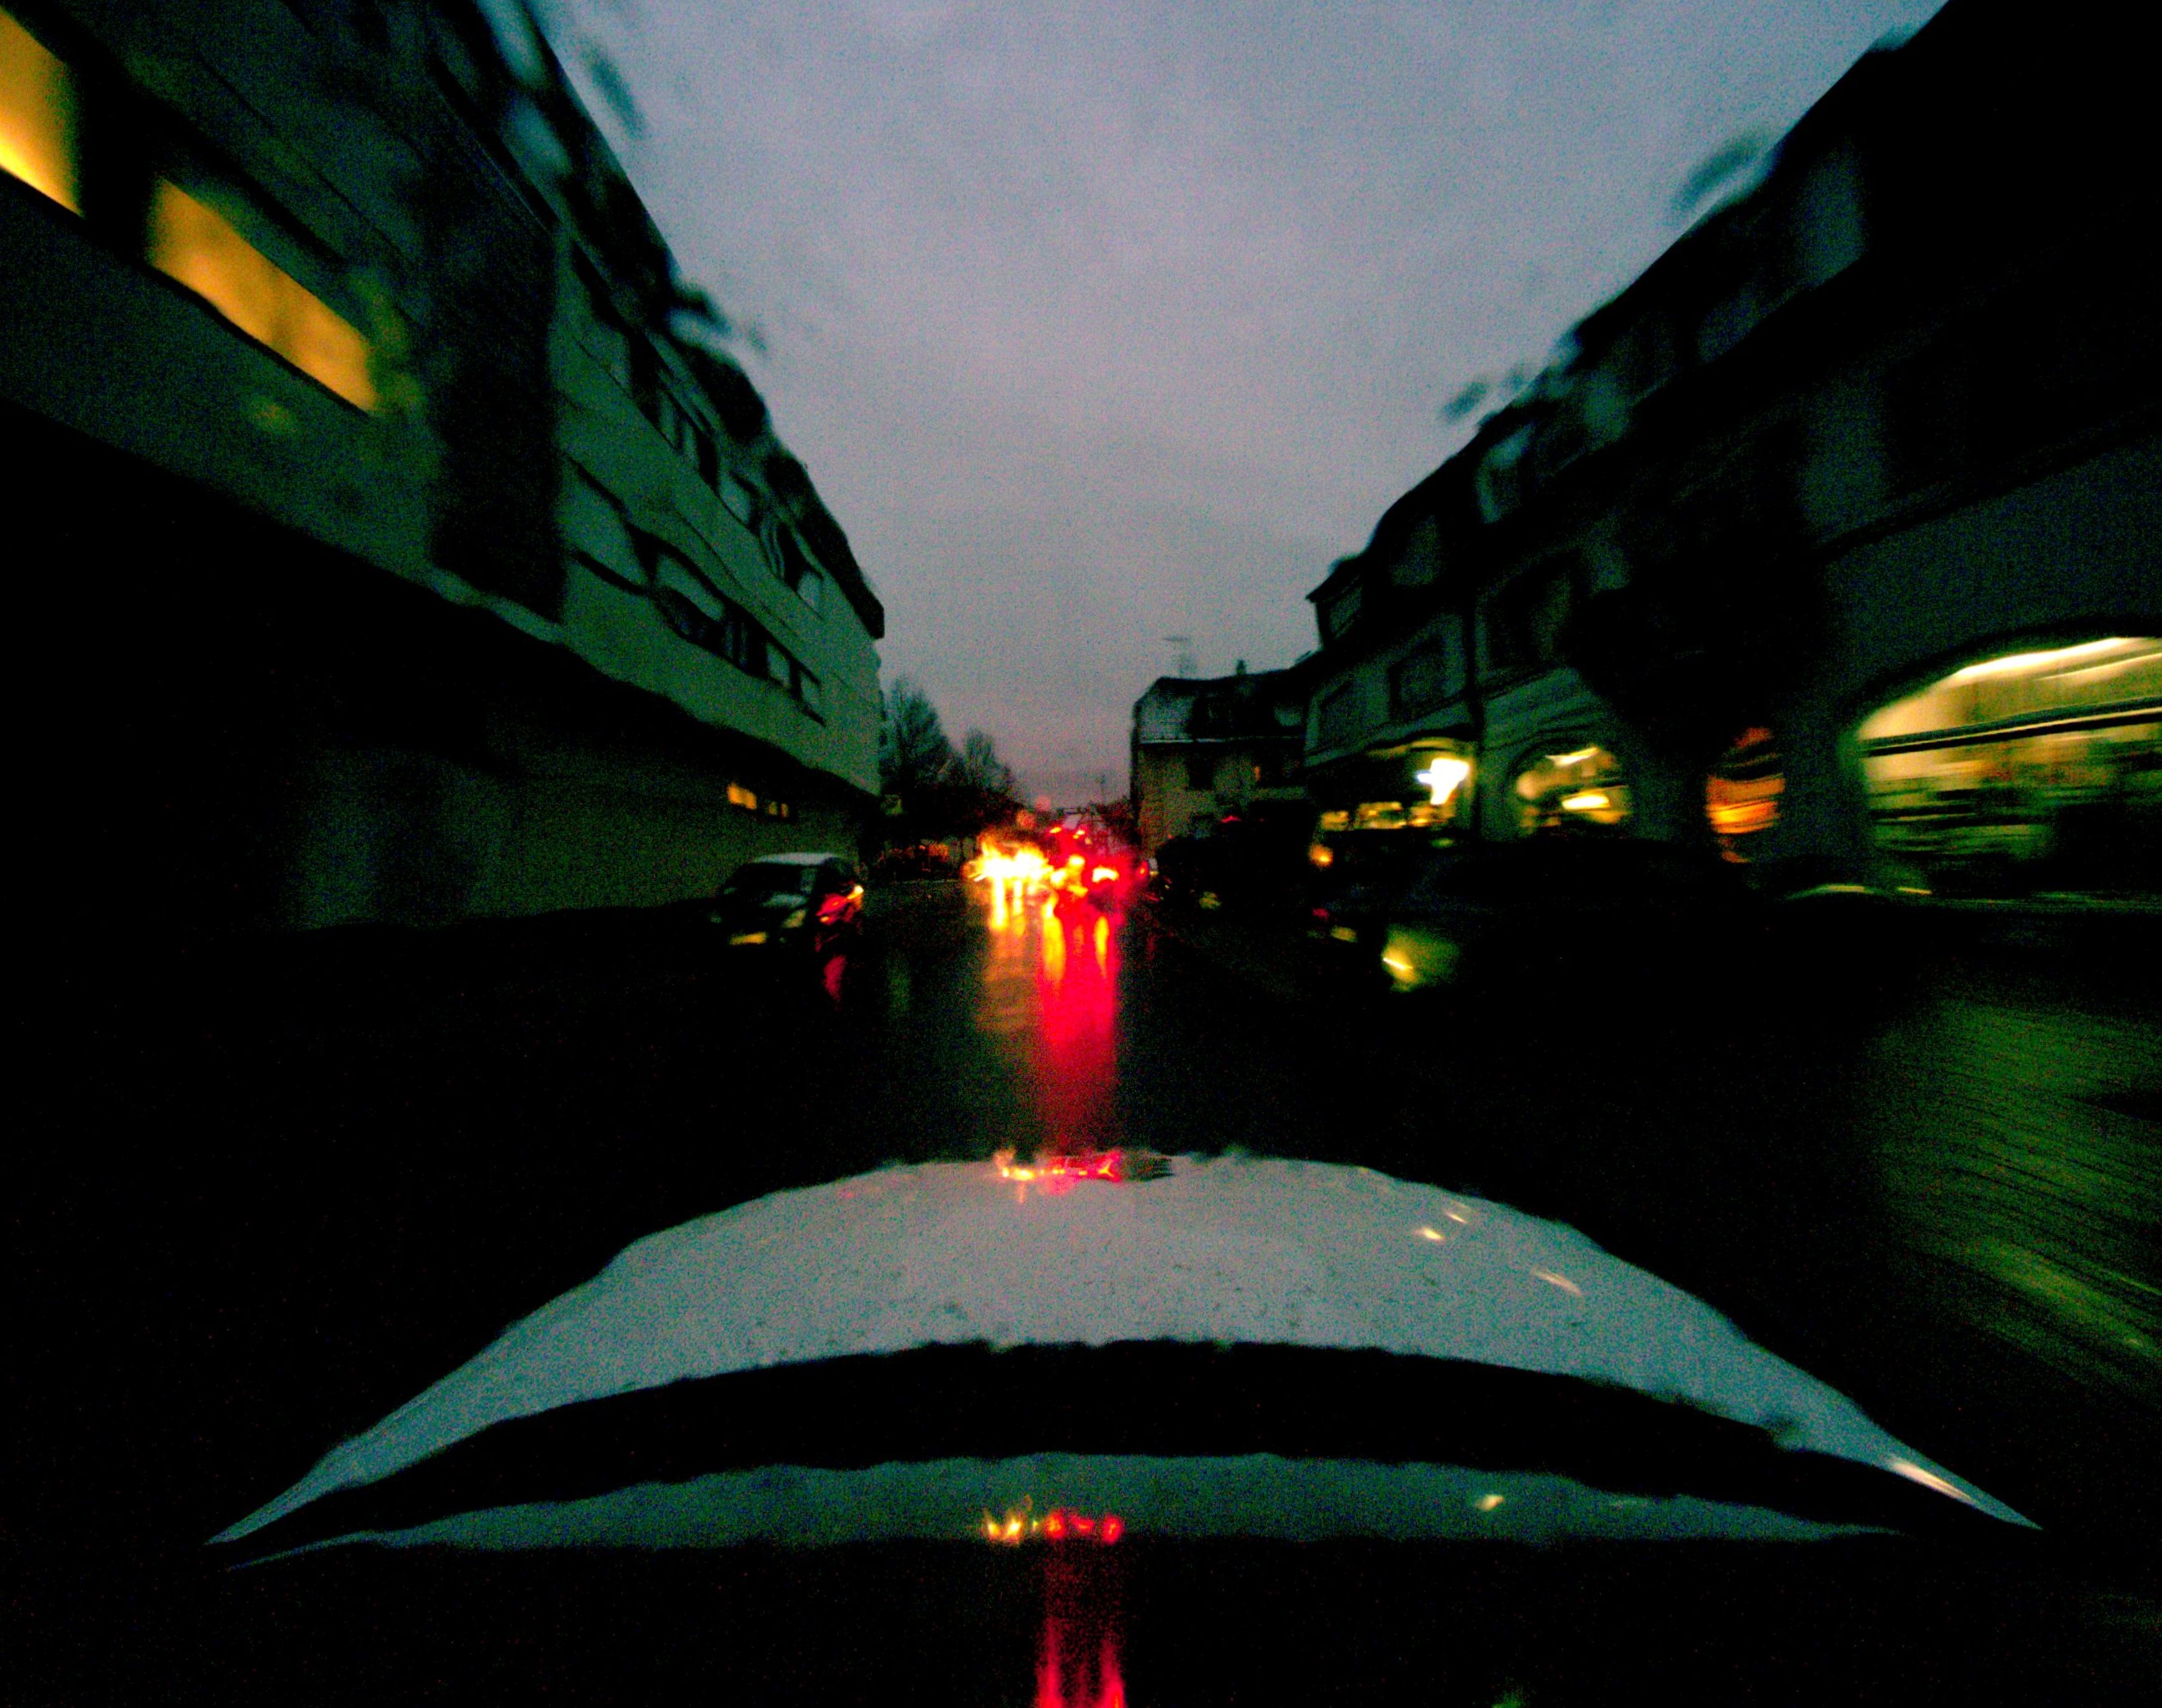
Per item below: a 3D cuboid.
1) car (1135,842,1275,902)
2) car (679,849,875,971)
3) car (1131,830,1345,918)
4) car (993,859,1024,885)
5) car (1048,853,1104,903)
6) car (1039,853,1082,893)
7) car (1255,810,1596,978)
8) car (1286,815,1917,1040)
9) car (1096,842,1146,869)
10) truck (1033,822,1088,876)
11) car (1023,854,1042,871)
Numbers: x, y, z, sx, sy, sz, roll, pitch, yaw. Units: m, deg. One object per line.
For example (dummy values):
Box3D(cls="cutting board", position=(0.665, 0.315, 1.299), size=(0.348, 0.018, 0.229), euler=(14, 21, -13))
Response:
Box3D(cls="car", position=(3.728, 0.526, 24.835), size=(3.867, 1.579, 1.678), euler=(-2, 0, -8))
Box3D(cls="car", position=(-4.641, 0.759, 13.055), size=(1.789, 1.642, 3.809), euler=(0, 0, -2))
Box3D(cls="car", position=(3.643, 0.430, 19.384), size=(4.599, 1.775, 1.941), euler=(-2, 0, -7))
Box3D(cls="car", position=(-4.520, 1.080, 51.248), size=(1.633, 1.535, 3.404), euler=(-1, 0, -1))
Box3D(cls="car", position=(-0.174, 0.716, 25.811), size=(1.633, 1.481, 3.377), euler=(-1, 0, -1))
Box3D(cls="car", position=(-0.823, 0.736, 33.048), size=(1.633, 1.481, 3.269), euler=(-1, 0, -2))
Box3D(cls="car", position=(4.194, 0.436, 10.227), size=(3.501, 1.680, 1.712), euler=(-4, 0, -7))
Box3D(cls="car", position=(4.339, 0.546, 7.275), size=(4.457, 1.473, 1.896), euler=(-3, 0, -4))
Box3D(cls="car", position=(3.448, 0.150, 69.251), size=(4.078, 2.163, 1.916), euler=(-1, 0, 4))
Box3D(cls="truck", position=(-1.400, -0.298, 51.032), size=(3.010, 3.128, 7.988), euler=(-1, 0, -4))
Box3D(cls="car", position=(-4.837, 0.843, 82.133), size=(1.806, 1.596, 4.395), euler=(-1, 0, -2))
